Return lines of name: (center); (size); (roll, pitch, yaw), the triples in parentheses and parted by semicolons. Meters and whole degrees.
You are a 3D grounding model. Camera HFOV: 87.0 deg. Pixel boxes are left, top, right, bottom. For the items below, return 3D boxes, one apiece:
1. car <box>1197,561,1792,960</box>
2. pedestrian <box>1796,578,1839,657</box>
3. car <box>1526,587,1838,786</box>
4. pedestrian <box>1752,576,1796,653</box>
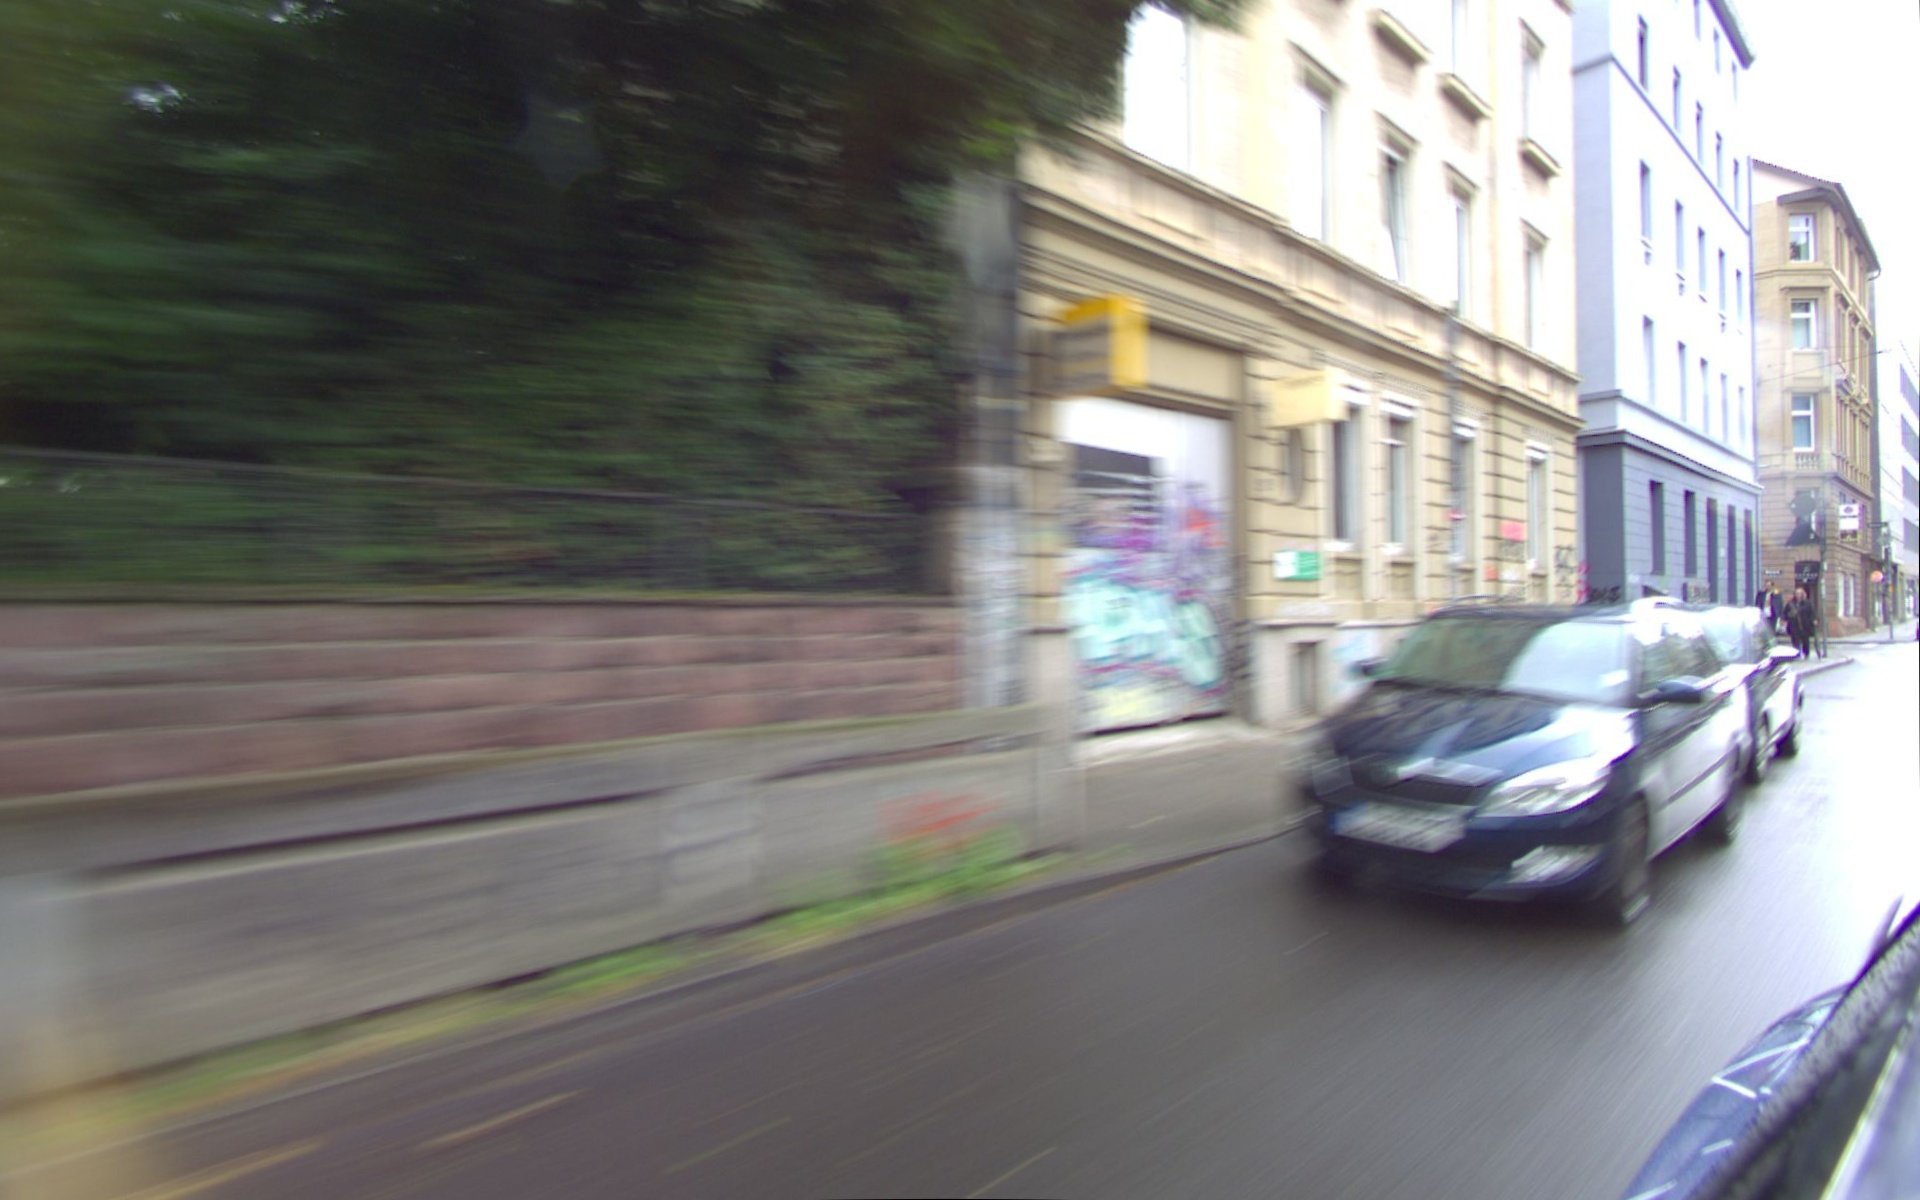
car: (3.382, 0.636, 6.011); (4.171, 1.549, 1.785); (0, -1, -42)
pedestrian: (21.278, 0.430, 25.118); (0.590, 1.915, 0.714); (1, -2, -44)
car: (7.266, 0.687, 10.002); (4.262, 1.549, 1.756); (0, -1, -44)
pedestrian: (20.693, 0.370, 25.728); (0.578, 1.938, 0.763); (1, -2, -44)
